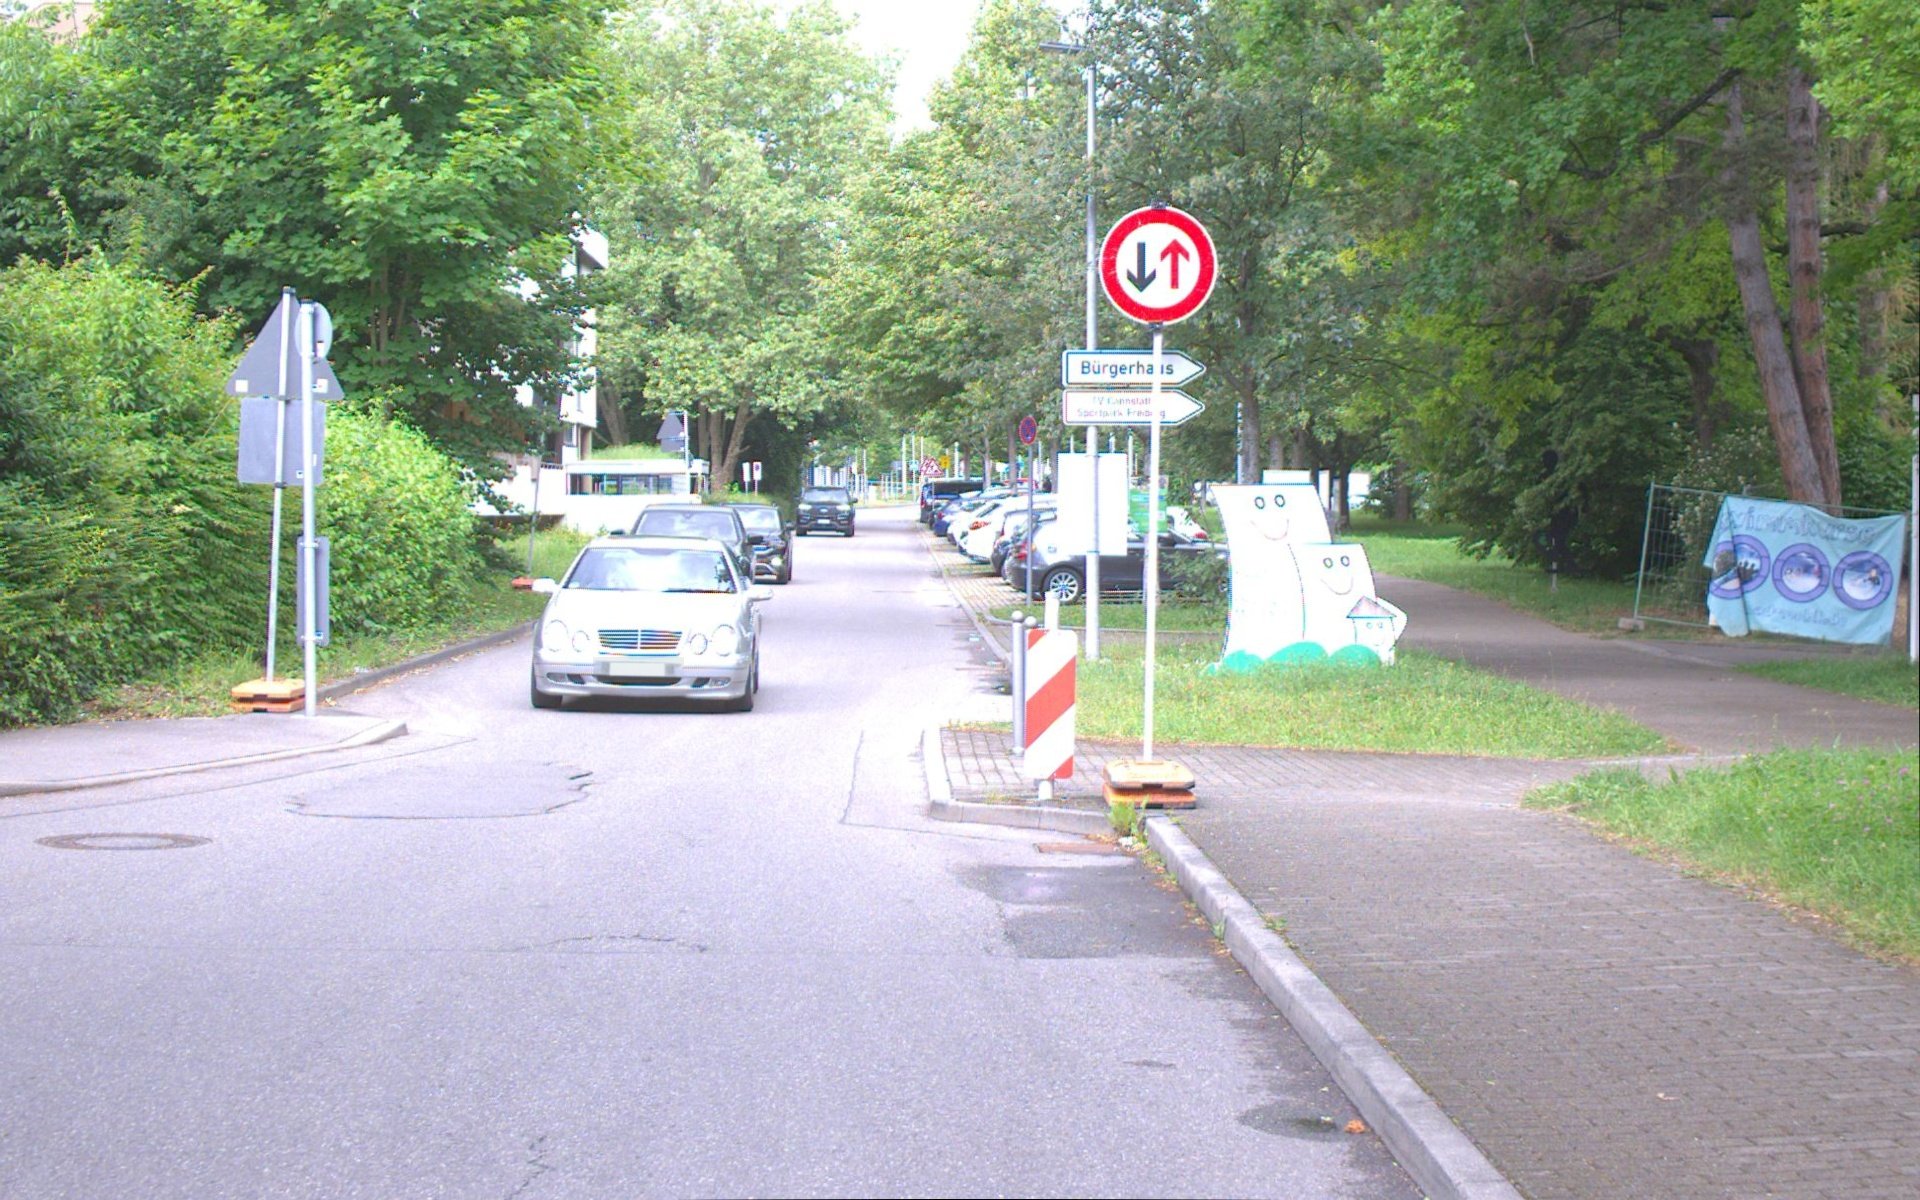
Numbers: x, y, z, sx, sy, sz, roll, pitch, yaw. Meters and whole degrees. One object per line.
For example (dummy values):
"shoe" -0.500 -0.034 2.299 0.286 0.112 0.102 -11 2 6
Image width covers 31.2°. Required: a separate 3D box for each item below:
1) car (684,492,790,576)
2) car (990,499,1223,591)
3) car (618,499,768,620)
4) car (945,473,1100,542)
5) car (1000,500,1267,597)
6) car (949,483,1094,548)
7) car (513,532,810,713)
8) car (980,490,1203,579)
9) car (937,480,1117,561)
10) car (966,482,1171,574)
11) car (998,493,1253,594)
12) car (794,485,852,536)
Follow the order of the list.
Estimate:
"car" -4.356 -1.316 67.781 1.803 1.586 4.296 1 2 0
"car" 2.615 -1.012 62.150 4.062 1.563 1.823 -1 2 -2
"car" -3.668 -0.596 47.848 1.803 1.586 4.296 1 2 -1
"car" 1.721 -2.576 95.728 4.062 1.681 1.823 -3 2 -4
"car" 2.723 -0.807 54.623 4.062 1.429 2.000 -1 0 -2
"car" 1.800 -2.495 101.672 4.062 1.681 1.823 -3 2 -4
"car" -2.346 0.127 28.067 1.781 1.302 4.296 1 2 4
"car" 2.521 -1.280 66.668 4.062 1.483 1.823 -3 2 -4
"car" 1.577 -1.903 81.908 4.062 1.681 1.823 -3 2 -4
"car" 2.263 -1.523 72.322 4.062 1.681 1.823 -3 2 -4
"car" 2.708 -0.921 56.956 4.062 1.563 1.822 -1 0 -2
"car" -4.806 -3.140 120.862 1.968 1.741 4.339 1 2 -2
